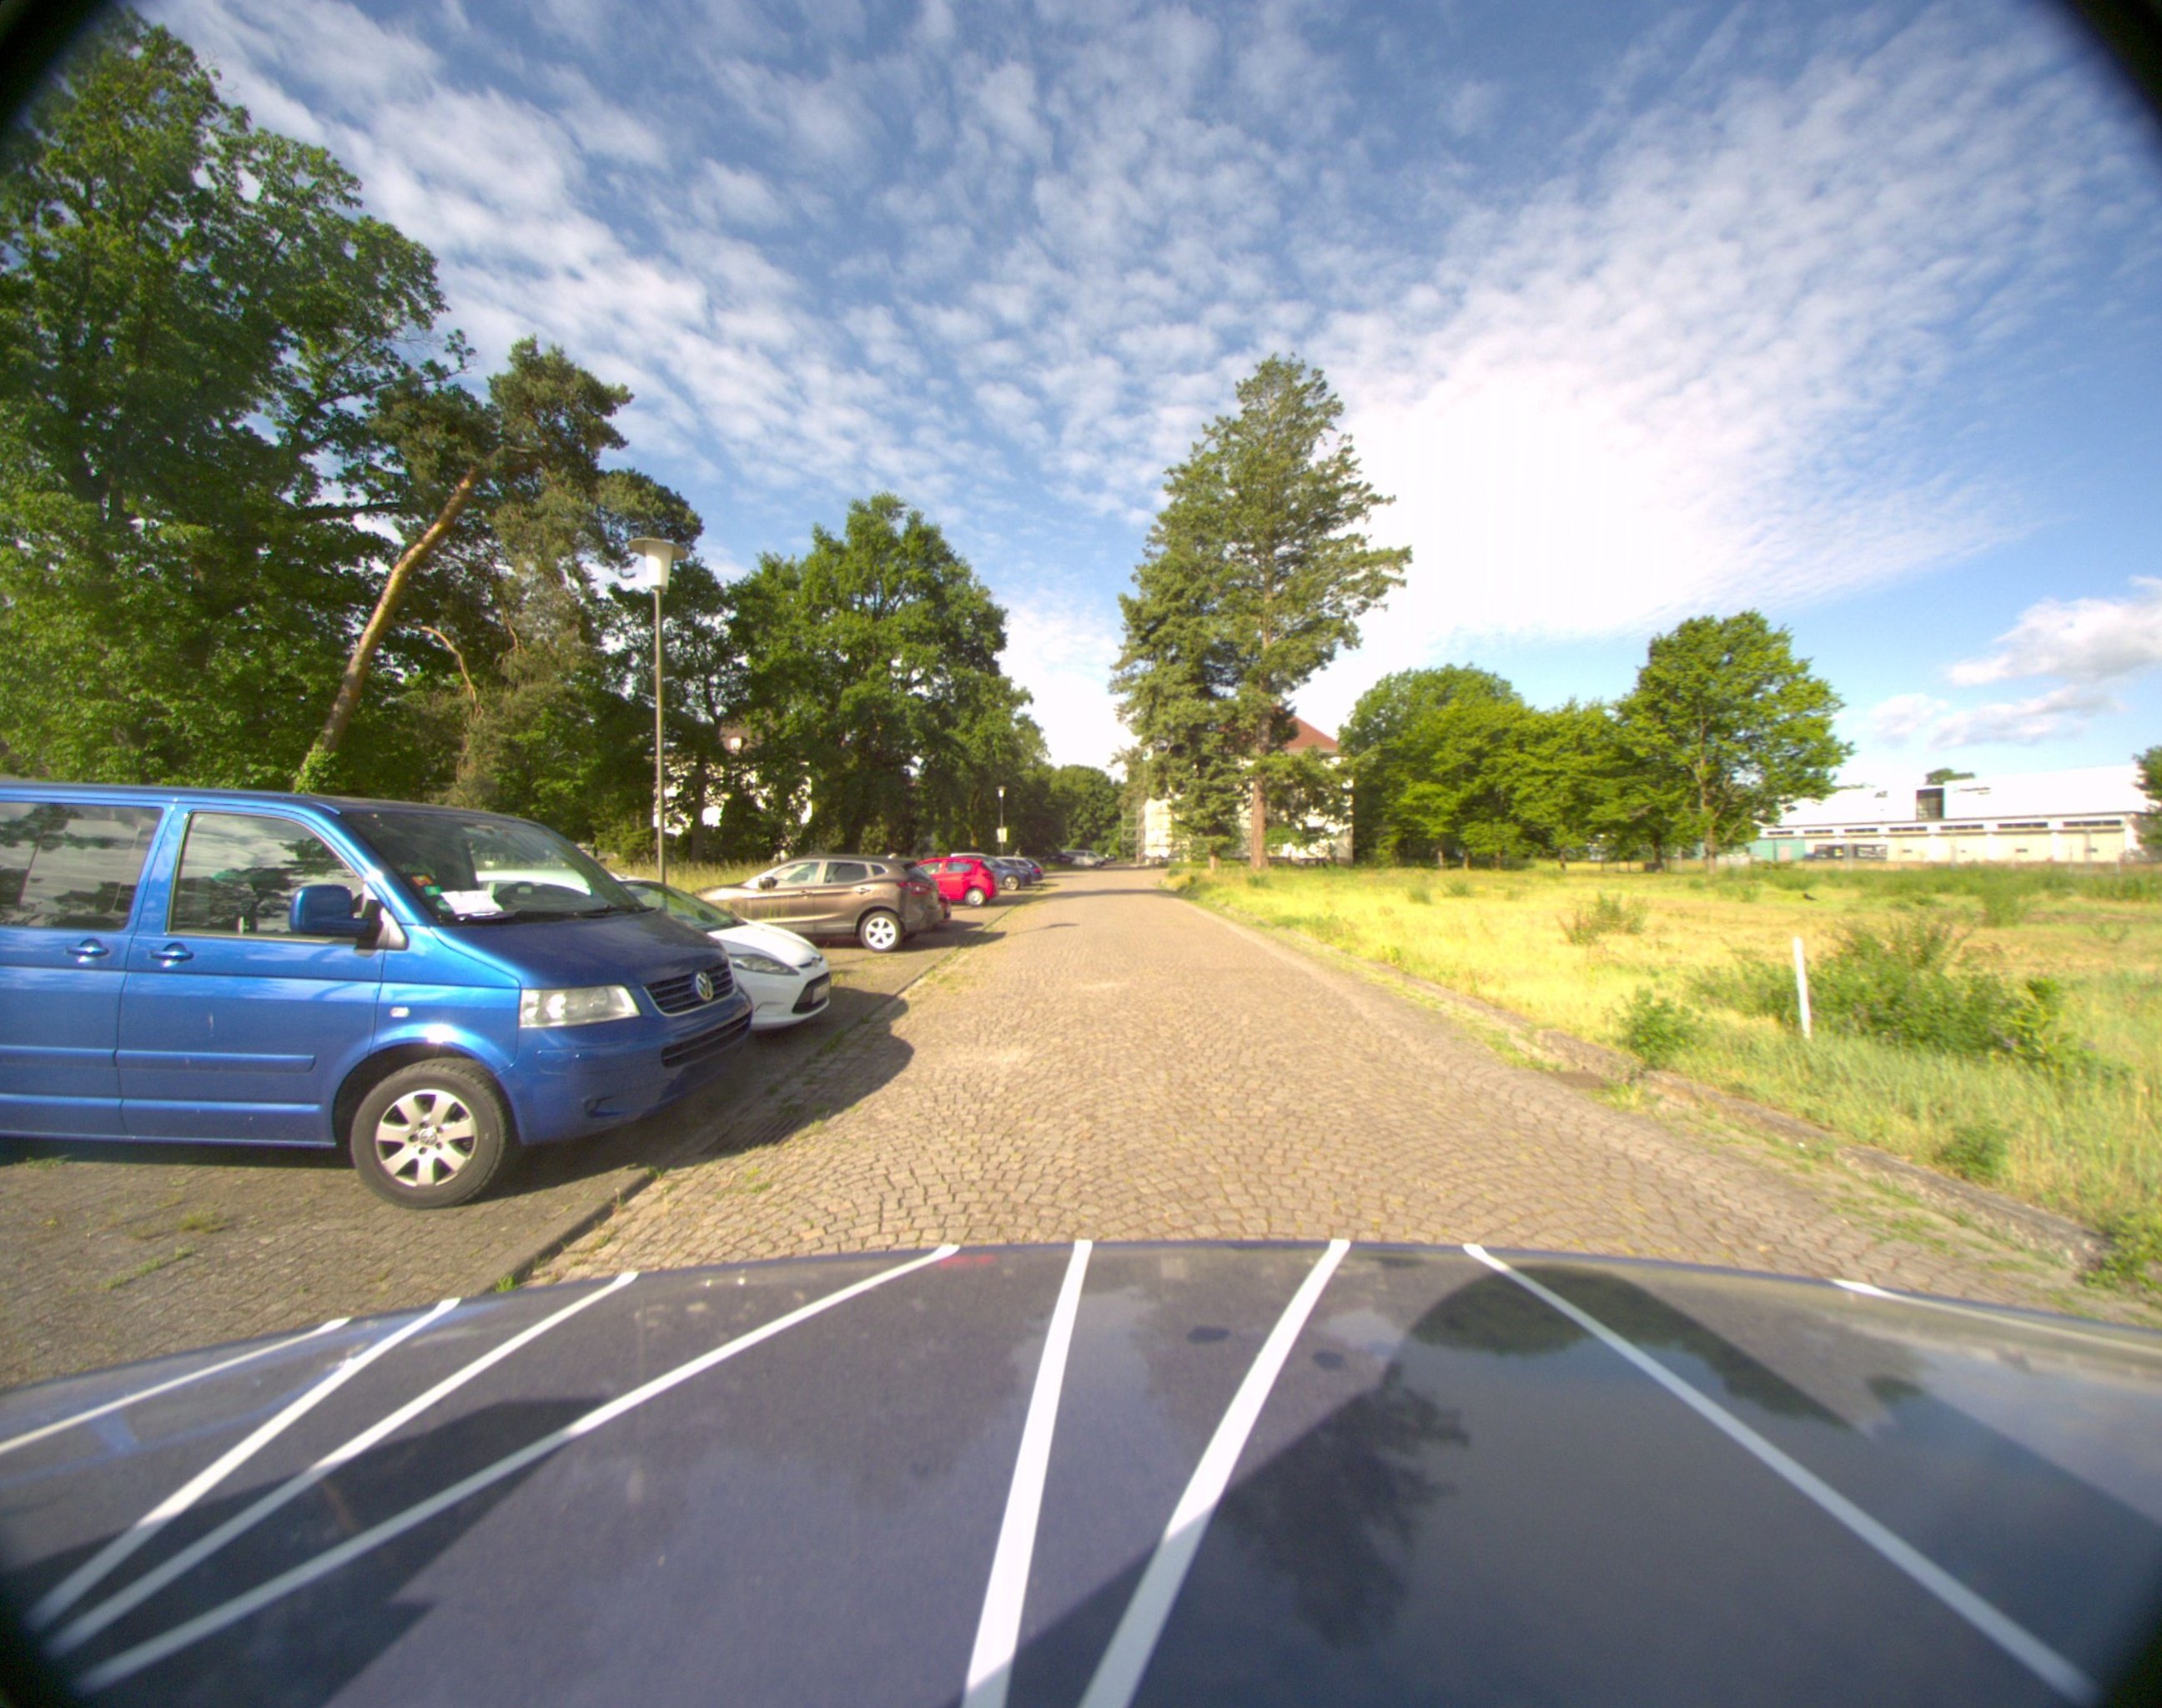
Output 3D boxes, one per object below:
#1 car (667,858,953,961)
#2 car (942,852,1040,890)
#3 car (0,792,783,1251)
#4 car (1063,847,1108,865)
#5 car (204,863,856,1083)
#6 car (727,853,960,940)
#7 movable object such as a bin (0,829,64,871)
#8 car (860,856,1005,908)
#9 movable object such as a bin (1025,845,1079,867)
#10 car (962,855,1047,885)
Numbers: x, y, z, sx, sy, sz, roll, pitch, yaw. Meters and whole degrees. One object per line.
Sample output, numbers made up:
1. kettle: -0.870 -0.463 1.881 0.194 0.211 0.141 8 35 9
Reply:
1. car: -4.480 0.891 13.111 4.237 1.589 1.934 0 1 -2
2. car: -3.939 0.742 33.734 4.098 1.548 1.853 1 0 -1
3. car: -4.438 0.694 4.264 4.710 1.924 2.000 1 1 0
4. car: 0.475 0.221 87.141 4.933 2.002 1.999 1 1 -5
5. car: -4.519 0.928 6.793 4.408 1.568 1.939 1 1 0
6. car: -4.793 0.839 15.821 4.237 1.589 1.934 1 1 -2
7. movable object such as a bin: -88.385 -0.238 61.666 6.460 3.282 2.859 -3 2 -42
8. car: -4.518 0.839 23.511 4.098 1.451 1.853 1 0 -1
9. movable object such as a bin: -2.789 0.219 74.259 4.865 2.002 2.002 -1 0 14
10. car: -3.807 0.789 38.417 4.098 1.415 1.784 1 0 -1
